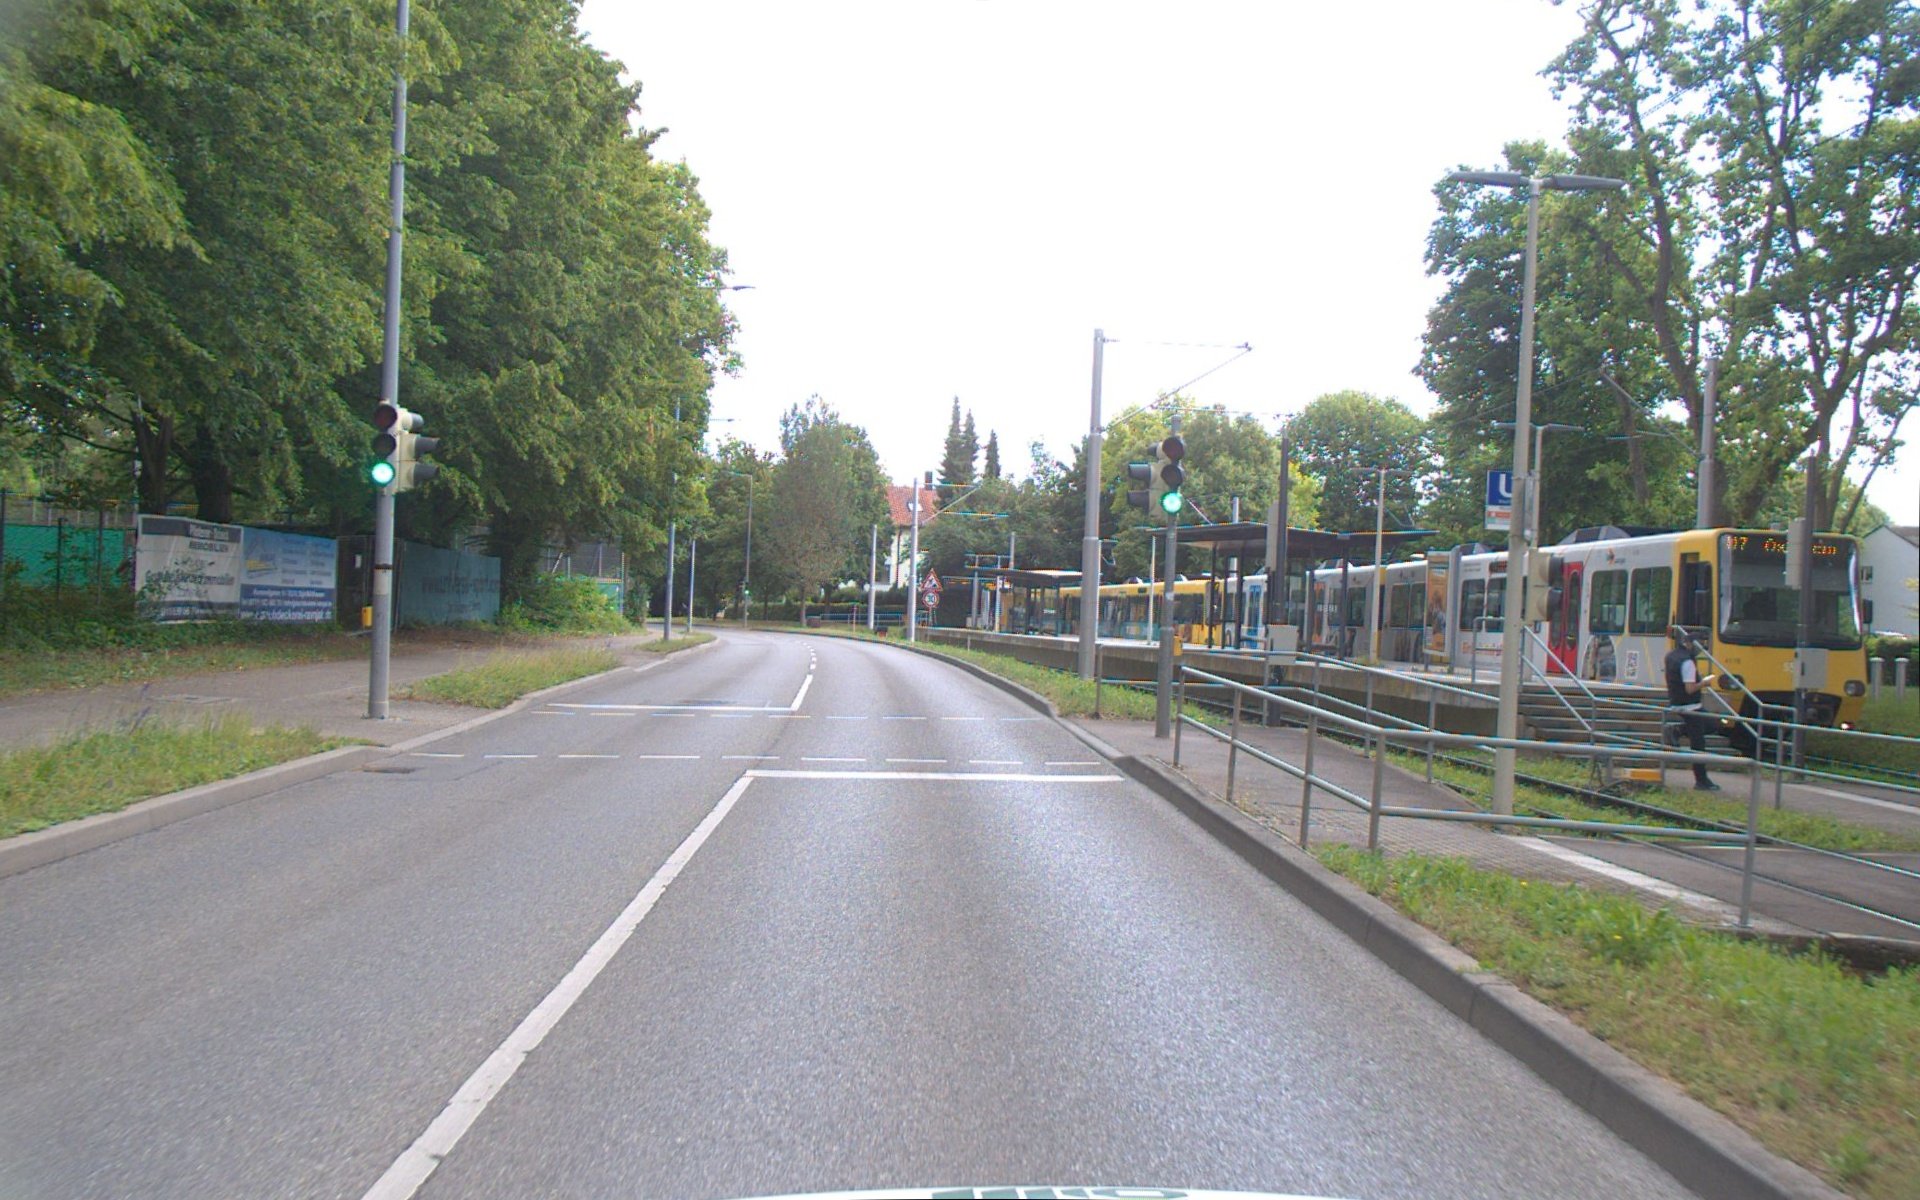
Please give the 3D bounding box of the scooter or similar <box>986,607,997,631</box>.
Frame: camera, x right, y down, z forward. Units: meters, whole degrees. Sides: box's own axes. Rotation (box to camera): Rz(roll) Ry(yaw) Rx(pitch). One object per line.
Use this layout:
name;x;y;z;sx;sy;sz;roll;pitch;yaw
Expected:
scooter or similar;1.686;1.013;89.619;0.361;1.264;1.143;2;-1;-9

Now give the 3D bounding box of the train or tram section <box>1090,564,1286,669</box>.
train or tram section;9.355;0.633;71.894;2.762;3.802;19.471;3;-1;-9

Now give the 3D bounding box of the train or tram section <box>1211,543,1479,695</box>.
train or tram section;11.624;0.557;53.232;2.758;3.865;18.916;3;-1;-4

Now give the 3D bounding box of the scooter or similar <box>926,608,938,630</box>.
scooter or similar;-1.684;1.157;99.320;0.423;1.275;1.248;1;-3;-18

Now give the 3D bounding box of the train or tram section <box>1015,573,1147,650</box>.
train or tram section;6.297;0.595;91.297;2.762;3.651;19.471;3;-1;-9

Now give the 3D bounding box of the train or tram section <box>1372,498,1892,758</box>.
train or tram section;12.535;0.505;34.386;2.757;3.802;18.526;3;-1;-1

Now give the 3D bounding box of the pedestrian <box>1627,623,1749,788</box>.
pedestrian;8.335;1.195;18.958;0.966;1.788;0.727;3;0;-12
